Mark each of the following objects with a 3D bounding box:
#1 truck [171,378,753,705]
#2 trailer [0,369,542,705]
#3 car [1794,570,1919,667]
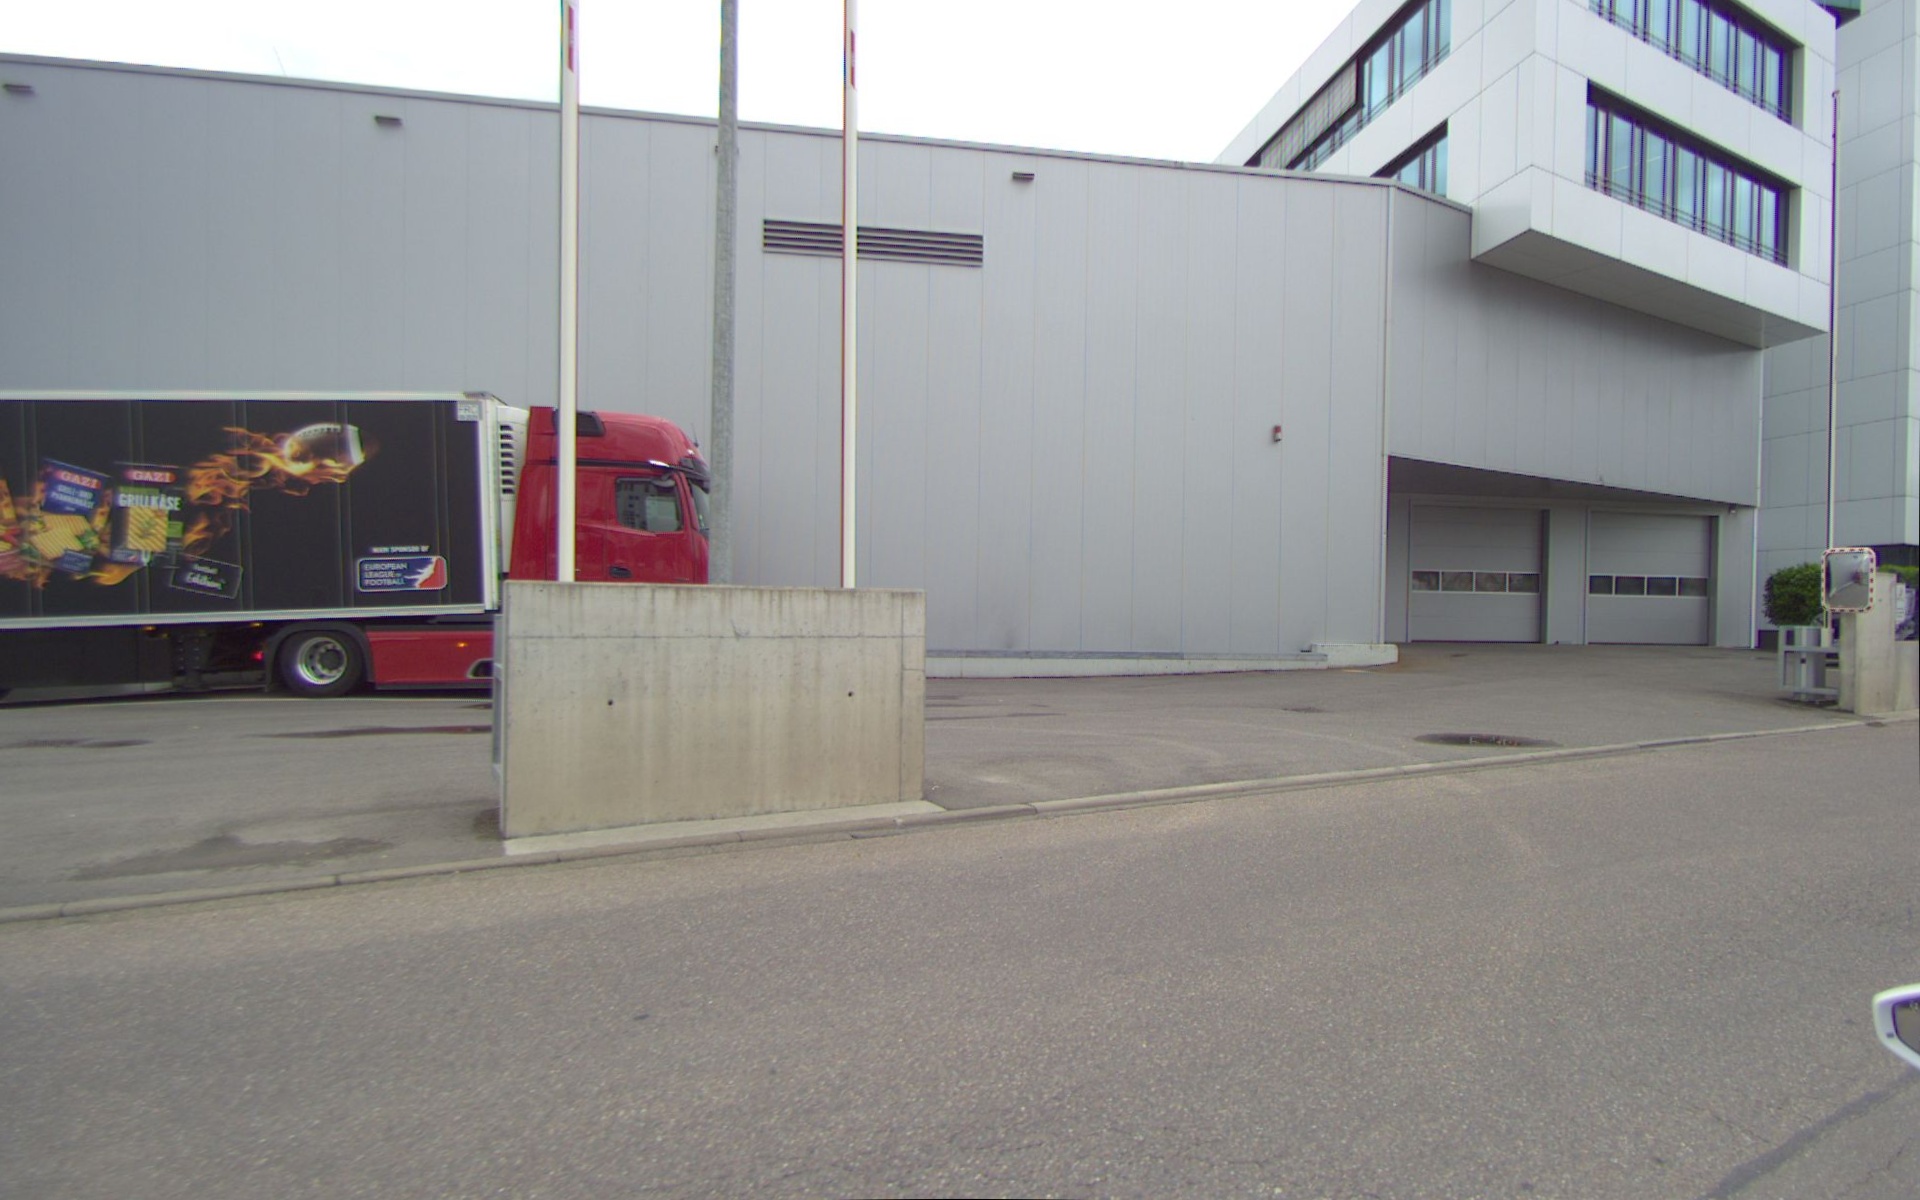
[{"bbox_3d":[-6.630,-0.700,14.478,6.964,4.085,2.746,1,1,-9],"label":"truck"},{"bbox_3d":[-12.514,-0.787,13.503,12.388,4.085,2.746,1,1,-10],"label":"trailer"},{"bbox_3d":[18.450,0.353,20.082,3.139,1.785,1.643,1,2,-29],"label":"car"}]
